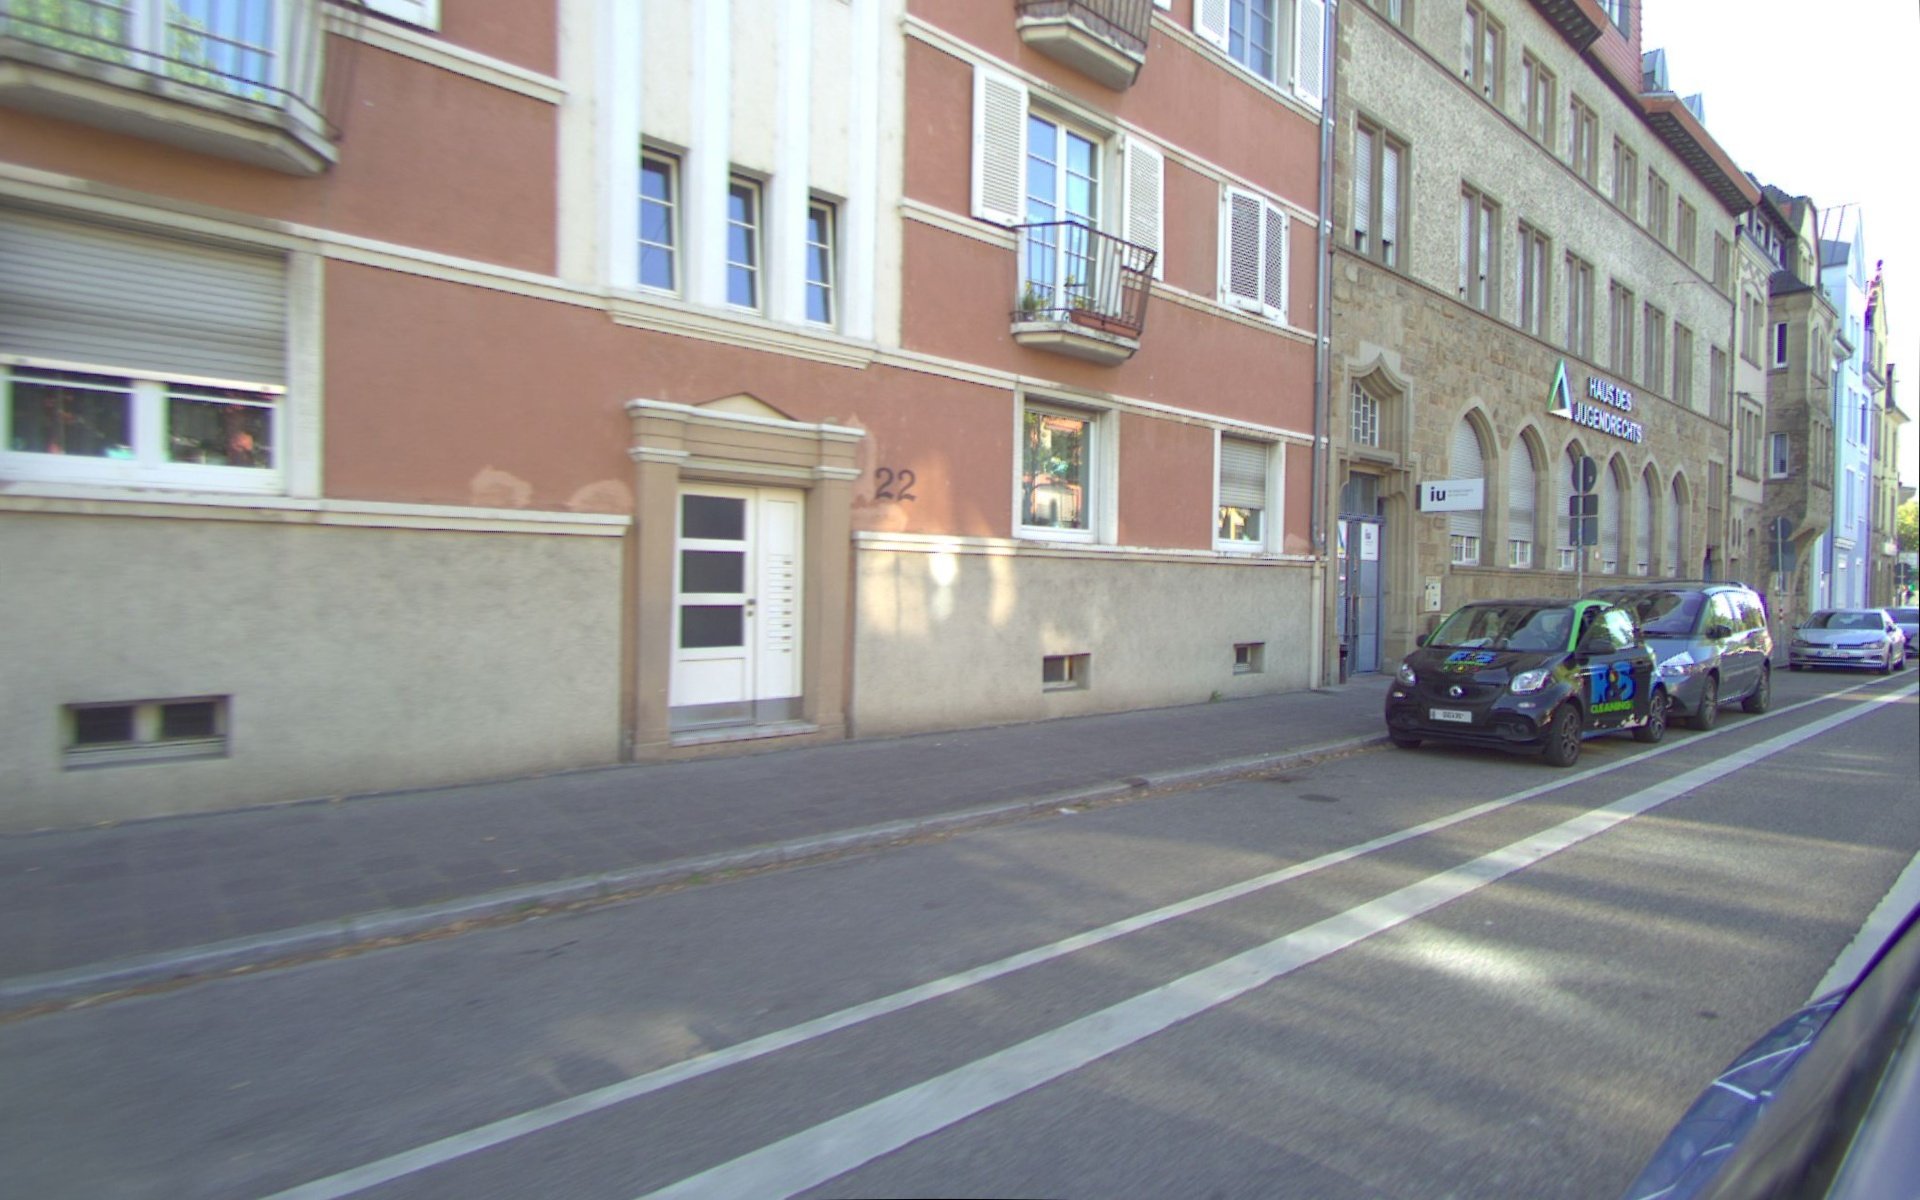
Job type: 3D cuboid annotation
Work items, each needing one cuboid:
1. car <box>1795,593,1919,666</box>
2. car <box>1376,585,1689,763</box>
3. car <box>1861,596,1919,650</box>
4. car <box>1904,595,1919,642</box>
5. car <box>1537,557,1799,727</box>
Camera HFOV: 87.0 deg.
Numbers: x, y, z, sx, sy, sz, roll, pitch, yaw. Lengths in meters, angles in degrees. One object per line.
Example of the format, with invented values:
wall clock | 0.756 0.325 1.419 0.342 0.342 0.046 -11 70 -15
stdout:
car | 20.631 0.618 23.128 4.152 1.520 1.716 0 -1 -41
car | 6.010 0.635 10.485 3.650 1.531 1.635 0 -1 -40
car | 28.115 0.635 29.783 4.121 1.520 1.756 0 -1 -40
car | 32.353 0.595 33.201 3.931 1.501 1.658 0 0 -41
car | 9.507 0.449 13.419 4.731 1.879 1.756 0 0 -41
